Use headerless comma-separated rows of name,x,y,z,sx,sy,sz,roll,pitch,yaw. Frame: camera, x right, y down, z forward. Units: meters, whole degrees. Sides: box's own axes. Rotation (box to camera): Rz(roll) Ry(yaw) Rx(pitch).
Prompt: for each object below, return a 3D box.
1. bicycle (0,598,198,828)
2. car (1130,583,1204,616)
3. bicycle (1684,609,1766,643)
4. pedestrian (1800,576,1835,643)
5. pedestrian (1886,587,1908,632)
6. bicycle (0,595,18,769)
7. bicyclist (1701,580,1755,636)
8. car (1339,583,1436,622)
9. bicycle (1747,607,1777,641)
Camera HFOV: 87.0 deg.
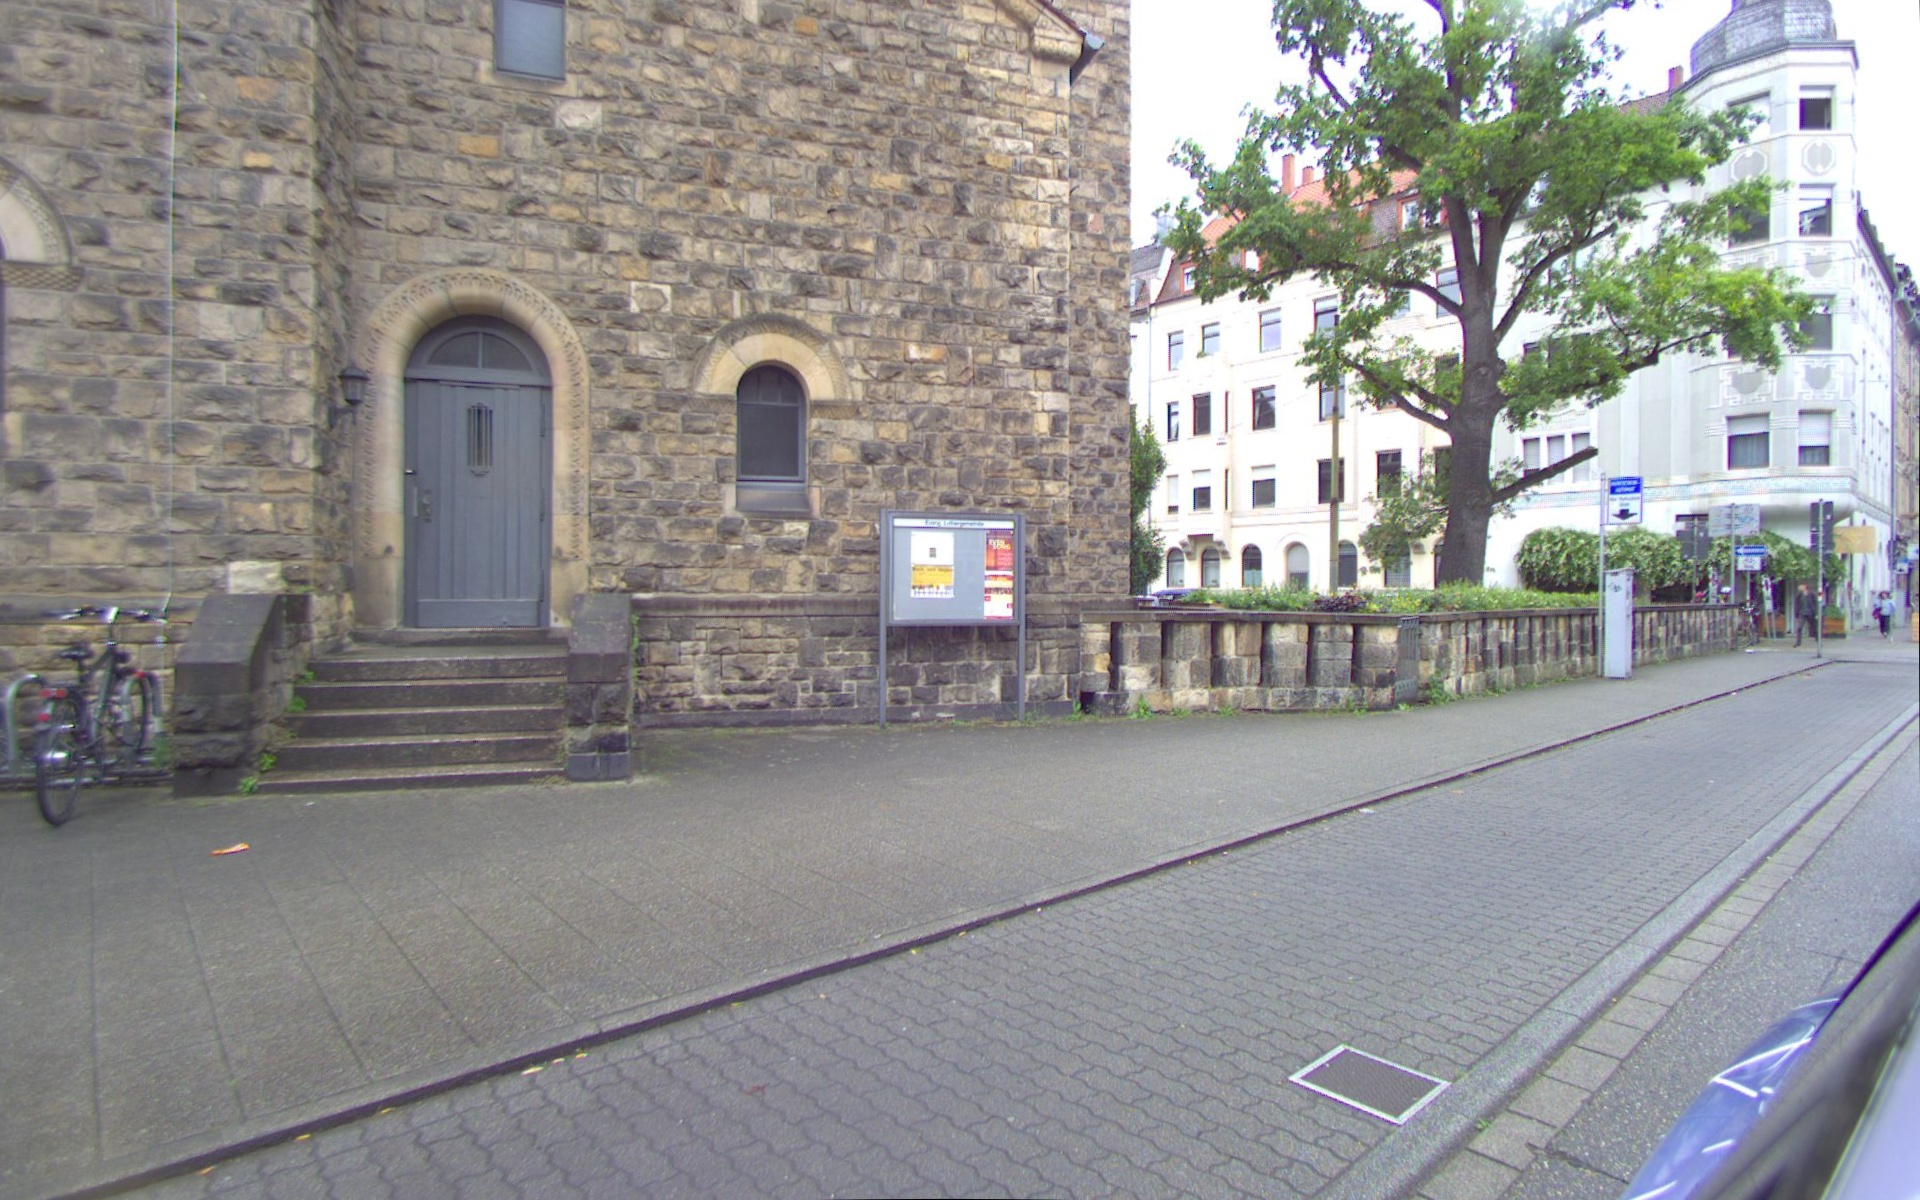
bicycle,-5.109,0.569,6.069,0.502,1.067,1.994,0,3,-27
car,9.731,-0.046,47.686,1.421,1.427,3.271,0,1,-38
bicycle,21.755,0.722,28.806,0.527,0.896,1.779,0,1,-38
pedestrian,24.693,0.251,29.152,0.681,1.896,0.645,0,1,-42
pedestrian,31.845,0.317,34.392,0.385,1.479,0.481,0,1,-42
bicycle,-6.263,0.569,5.971,0.550,1.125,1.717,0,3,-27
bicyclist,21.798,0.213,28.742,0.527,1.549,1.134,0,0,-38
car,16.884,0.084,40.070,1.421,1.427,3.271,0,1,-38
bicycle,24.496,0.733,30.888,1.990,0.904,0.390,-3,3,-42
